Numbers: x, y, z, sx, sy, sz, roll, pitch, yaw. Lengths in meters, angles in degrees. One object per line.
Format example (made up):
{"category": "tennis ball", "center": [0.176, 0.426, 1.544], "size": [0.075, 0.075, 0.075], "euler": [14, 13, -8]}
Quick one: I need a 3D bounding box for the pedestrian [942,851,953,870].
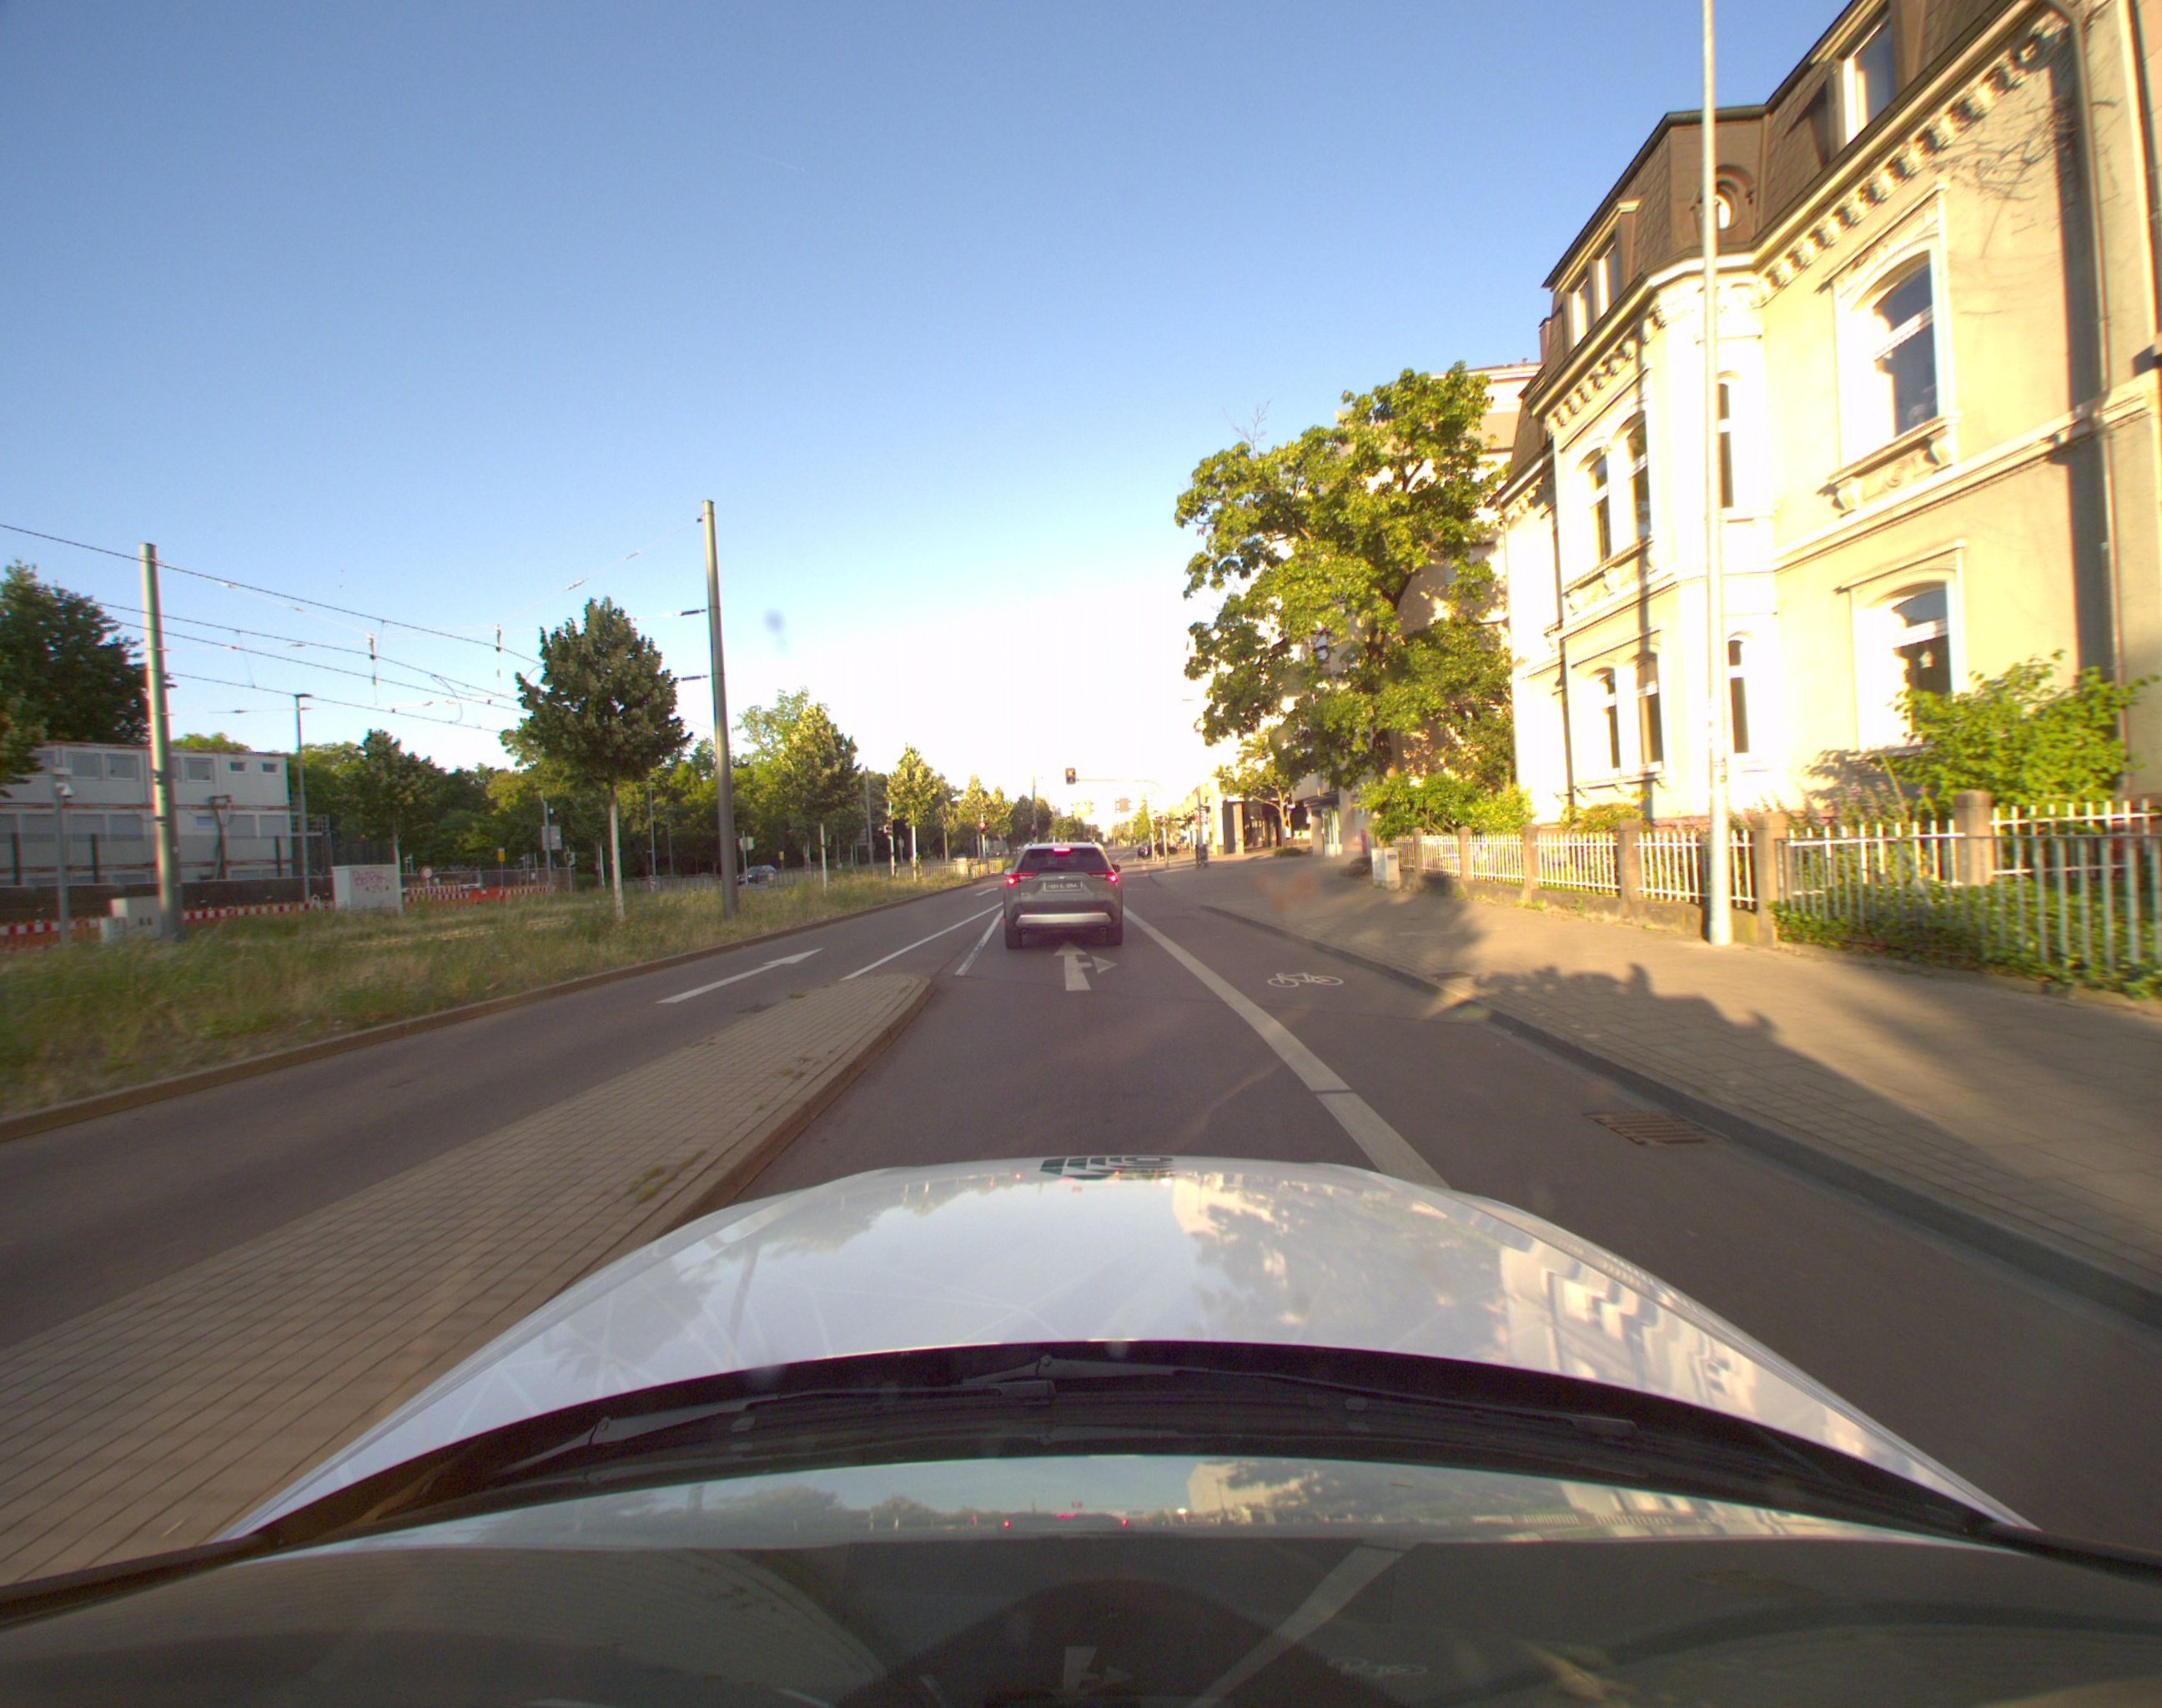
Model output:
{"category": "pedestrian", "center": [-12.684, 0.627, 77.580], "size": [0.832, 1.712, 0.648], "euler": [-3, 0, 1]}

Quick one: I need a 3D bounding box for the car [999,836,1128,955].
{"category": "car", "center": [-0.287, 0.567, 14.119], "size": [1.849, 1.658, 4.267], "euler": [-2, 2, -1]}

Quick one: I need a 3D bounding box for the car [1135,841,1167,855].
{"category": "car", "center": [9.873, -0.860, 114.493], "size": [4.285, 1.658, 1.841], "euler": [-3, 2, -33]}

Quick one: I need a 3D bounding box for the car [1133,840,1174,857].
{"category": "car", "center": [7.670, -0.574, 85.904], "size": [4.291, 1.658, 1.839], "euler": [-3, 2, -41]}

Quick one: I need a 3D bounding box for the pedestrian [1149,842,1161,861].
{"category": "pedestrian", "center": [6.273, -0.207, 68.937], "size": [0.832, 1.586, 0.812], "euler": [-3, 0, 0]}

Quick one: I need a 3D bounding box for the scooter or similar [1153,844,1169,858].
{"category": "scooter or similar", "center": [6.950, -0.297, 71.185], "size": [1.323, 1.153, 0.514], "euler": [-3, 0, 4]}

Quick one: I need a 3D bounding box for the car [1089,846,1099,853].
{"category": "car", "center": [2.908, -0.958, 176.472], "size": [1.971, 1.433, 4.846], "euler": [-2, 2, 2]}

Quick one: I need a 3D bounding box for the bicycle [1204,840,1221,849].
{"category": "bicycle", "center": [15.890, -1.148, 98.177], "size": [2.005, 1.149, 0.692], "euler": [0, 0, 8]}

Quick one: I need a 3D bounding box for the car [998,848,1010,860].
{"category": "car", "center": [-15.106, -0.099, 159.906], "size": [1.990, 2.167, 4.744], "euler": [-2, 2, -4]}

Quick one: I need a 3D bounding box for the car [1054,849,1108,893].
{"category": "car", "center": [-0.063, 0.630, 32.778], "size": [1.927, 1.481, 4.519], "euler": [-2, 2, -2]}

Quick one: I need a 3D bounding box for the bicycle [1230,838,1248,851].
{"category": "bicycle", "center": [13.721, -0.800, 70.577], "size": [0.690, 1.149, 2.011], "euler": [0, 0, -16]}

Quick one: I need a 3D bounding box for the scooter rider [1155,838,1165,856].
{"category": "scooter rider", "center": [6.903, -0.626, 71.190], "size": [0.817, 1.514, 0.654], "euler": [-3, 0, 4]}

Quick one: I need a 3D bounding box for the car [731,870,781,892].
{"category": "car", "center": [-26.666, 2.164, 66.983], "size": [1.923, 1.481, 4.528], "euler": [-2, 2, 4]}
